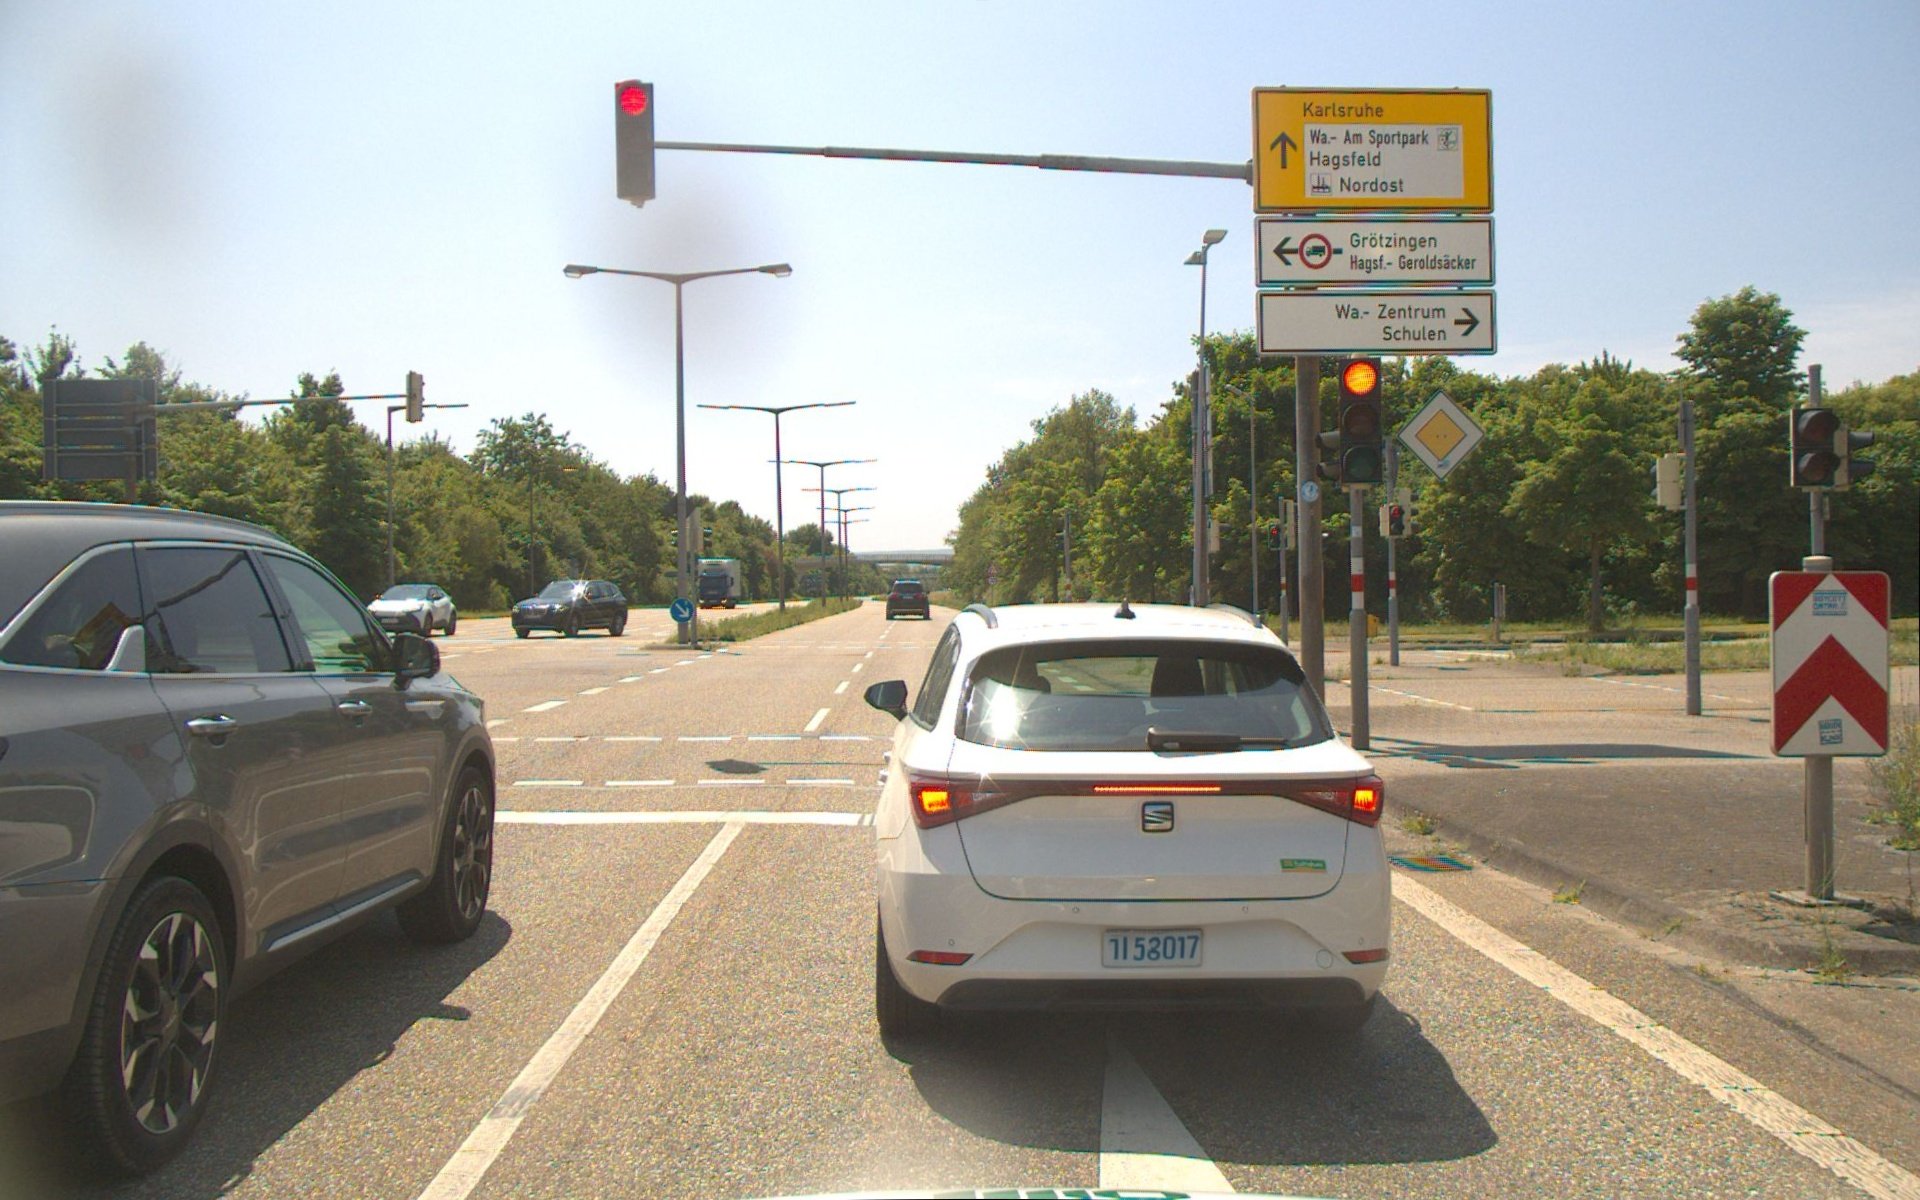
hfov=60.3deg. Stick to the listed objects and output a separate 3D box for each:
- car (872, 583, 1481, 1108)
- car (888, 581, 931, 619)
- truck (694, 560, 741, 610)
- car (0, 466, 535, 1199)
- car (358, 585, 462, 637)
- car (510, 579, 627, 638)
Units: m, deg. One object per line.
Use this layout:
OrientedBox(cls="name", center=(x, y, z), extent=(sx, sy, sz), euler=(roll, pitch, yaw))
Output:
OrientedBox(cls="car", center=(0.588, 0.700, 6.500), extent=(1.699, 1.453, 3.693), euler=(1, 0, -1))
OrientedBox(cls="car", center=(-2.401, -0.013, 79.042), extent=(1.816, 1.738, 4.001), euler=(-1, 1, 1))
OrientedBox(cls="truck", center=(-18.074, -1.139, 123.581), extent=(2.633, 3.633, 7.266), euler=(0, 1, -1))
OrientedBox(cls="car", center=(-2.865, 0.573, 5.464), extent=(1.767, 1.691, 4.643), euler=(-1, 0, -1))
OrientedBox(cls="car", center=(-16.604, 0.305, 50.151), extent=(1.785, 1.481, 4.168), euler=(-1, 1, -1))
OrientedBox(cls="car", center=(-11.788, 0.220, 50.044), extent=(1.670, 1.692, 4.226), euler=(-1, 1, 14))
